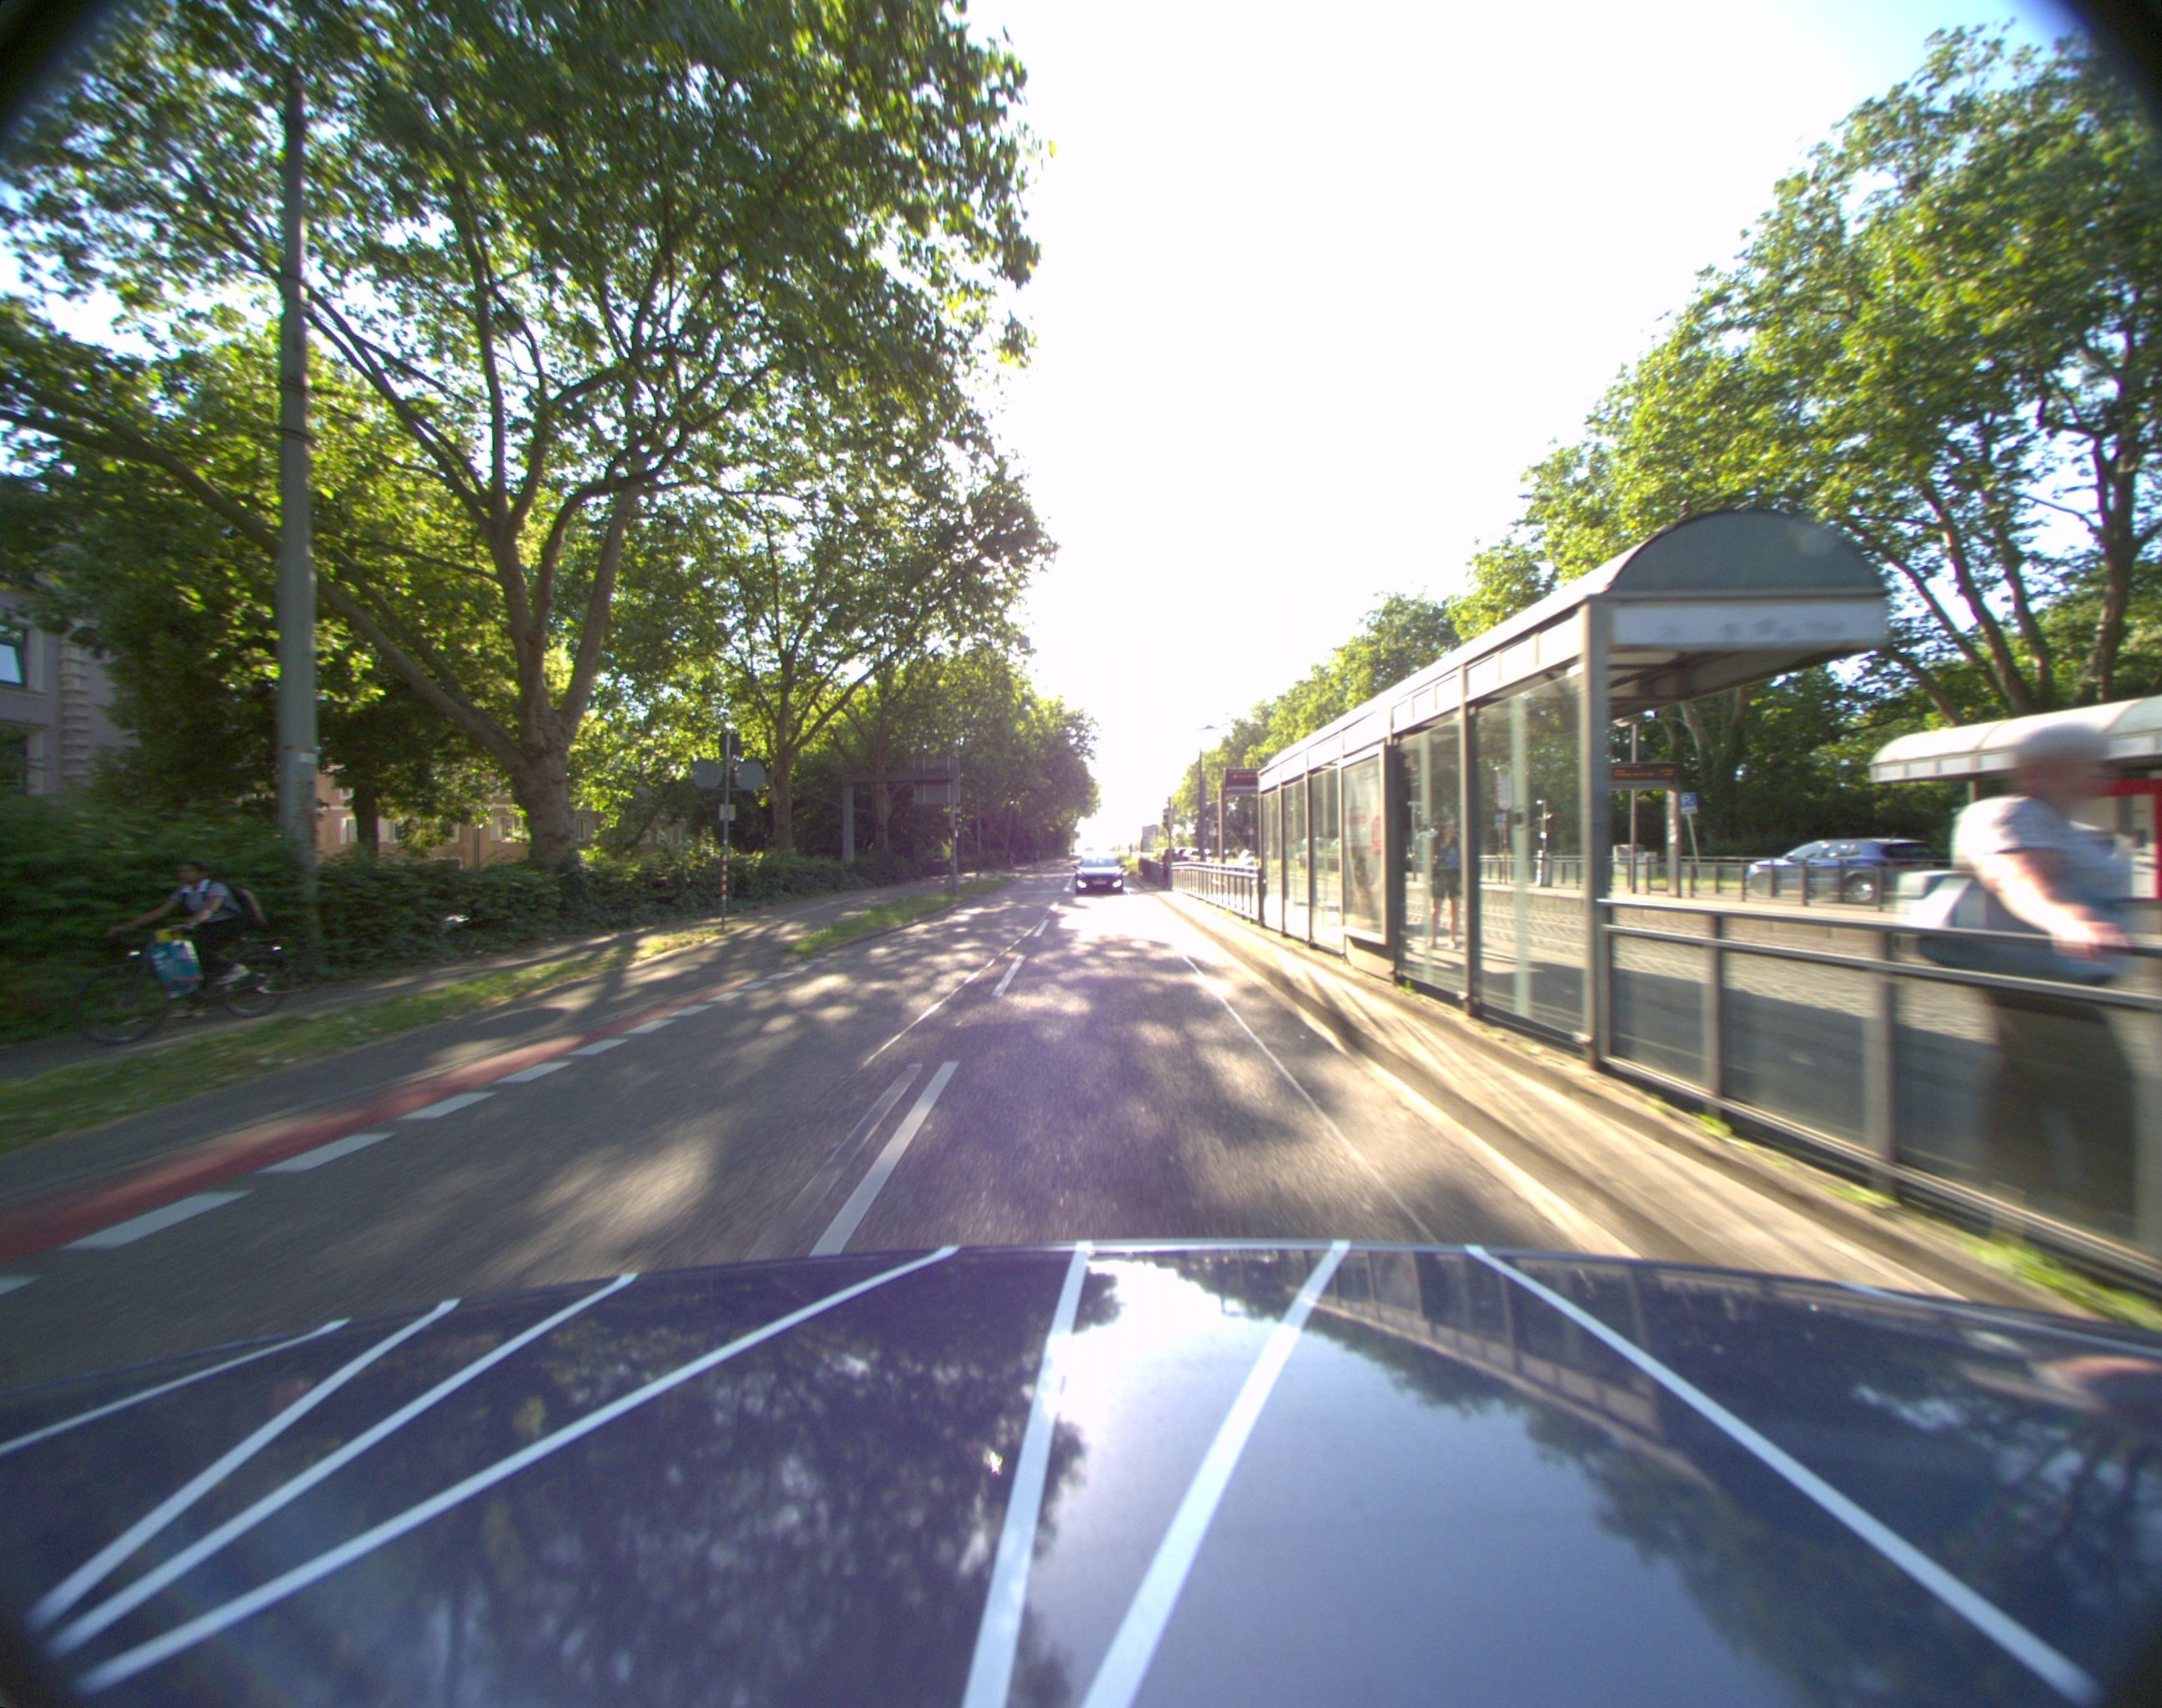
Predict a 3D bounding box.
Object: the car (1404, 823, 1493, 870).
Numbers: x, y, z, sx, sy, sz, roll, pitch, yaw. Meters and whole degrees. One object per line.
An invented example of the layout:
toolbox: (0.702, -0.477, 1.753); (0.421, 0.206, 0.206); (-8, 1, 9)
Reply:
car: (21.299, -0.459, 44.412); (2.189, 2.506, 6.030); (1, 1, -1)

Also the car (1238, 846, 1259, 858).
car: (20.576, -0.280, 93.467); (1.743, 1.428, 3.851); (1, 1, -1)

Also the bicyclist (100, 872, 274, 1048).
bicyclist: (-8.178, 0.939, 6.984); (0.768, 1.504, 0.650); (-1, 1, 0)

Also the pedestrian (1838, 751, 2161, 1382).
pedestrian: (2.972, 0.539, 2.323); (0.800, 1.625, 0.868); (-2, 1, 39)

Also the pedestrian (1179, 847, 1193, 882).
pedestrian: (4.485, 0.449, 32.483); (0.521, 1.464, 0.514); (1, 1, 2)

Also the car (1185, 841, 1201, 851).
car: (20.014, -1.489, 136.275); (1.832, 1.709, 4.391); (1, 1, -5)

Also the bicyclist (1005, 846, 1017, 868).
bicyclist: (-5.490, 0.241, 59.568); (0.700, 1.718, 1.080); (-1, 0, 9)

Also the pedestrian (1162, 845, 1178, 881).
pedestrian: (3.848, 0.388, 32.805); (0.520, 1.559, 0.509); (2, 2, 31)

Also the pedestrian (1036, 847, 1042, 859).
pedestrian: (-5.401, -0.140, 98.062); (0.649, 1.626, 0.927); (1, 1, 2)

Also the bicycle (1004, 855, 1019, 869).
bicycle: (-5.475, 0.637, 59.616); (0.700, 1.101, 1.931); (-1, 0, 9)

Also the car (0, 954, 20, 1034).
car: (-22.636, 2.756, 13.499); (4.007, 1.501, 1.796); (0, 0, -31)

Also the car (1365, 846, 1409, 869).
car: (21.313, 0.250, 53.094); (1.656, 1.504, 3.264); (1, 1, -2)

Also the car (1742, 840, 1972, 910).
car: (20.278, 0.472, 20.135); (1.908, 1.642, 3.971); (1, 1, -2)

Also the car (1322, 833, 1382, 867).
car: (21.137, -0.344, 59.599); (2.189, 2.506, 6.269); (1, 1, -2)

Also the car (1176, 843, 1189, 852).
car: (20.356, -1.316, 152.224); (1.832, 1.830, 4.393); (1, 1, -1)

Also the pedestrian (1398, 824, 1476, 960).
pedestrian: (4.280, 0.441, 9.172); (0.589, 1.558, 0.650); (-3, 1, 1)

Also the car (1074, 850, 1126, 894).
car: (0.704, 0.643, 29.156); (1.799, 1.501, 4.000); (-2, 0, 1)

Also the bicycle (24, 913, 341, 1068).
bicycle: (-8.181, 1.179, 7.080); (0.768, 1.101, 1.800); (-1, 1, 0)

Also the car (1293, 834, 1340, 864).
car: (20.827, -0.516, 67.524); (2.189, 2.506, 6.048); (1, 1, -1)

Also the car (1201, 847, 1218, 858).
car: (19.855, -0.248, 117.703); (1.832, 1.497, 4.393); (1, 1, -1)

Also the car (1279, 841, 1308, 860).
car: (20.927, -0.365, 74.996); (1.743, 1.718, 3.881); (1, 1, -1)

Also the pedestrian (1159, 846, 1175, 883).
pedestrian: (3.623, 0.438, 32.163); (0.591, 1.511, 0.514); (1, 1, 1)

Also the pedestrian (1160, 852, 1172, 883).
pedestrian: (3.552, 0.560, 31.713); (0.417, 1.313, 0.359); (1, 2, 1)

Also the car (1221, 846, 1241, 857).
car: (20.438, -0.417, 103.778); (1.832, 1.428, 4.322); (1, 1, -1)

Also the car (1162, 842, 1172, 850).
car: (20.356, -1.942, 180.399); (1.734, 1.730, 3.899); (1, 1, -1)

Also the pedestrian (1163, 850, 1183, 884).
pedestrian: (3.773, 0.529, 31.076); (0.592, 1.398, 0.558); (1, 2, -20)

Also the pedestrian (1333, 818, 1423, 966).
pedestrian: (3.565, 0.437, 9.178); (0.744, 1.685, 0.791); (-3, 1, 1)
